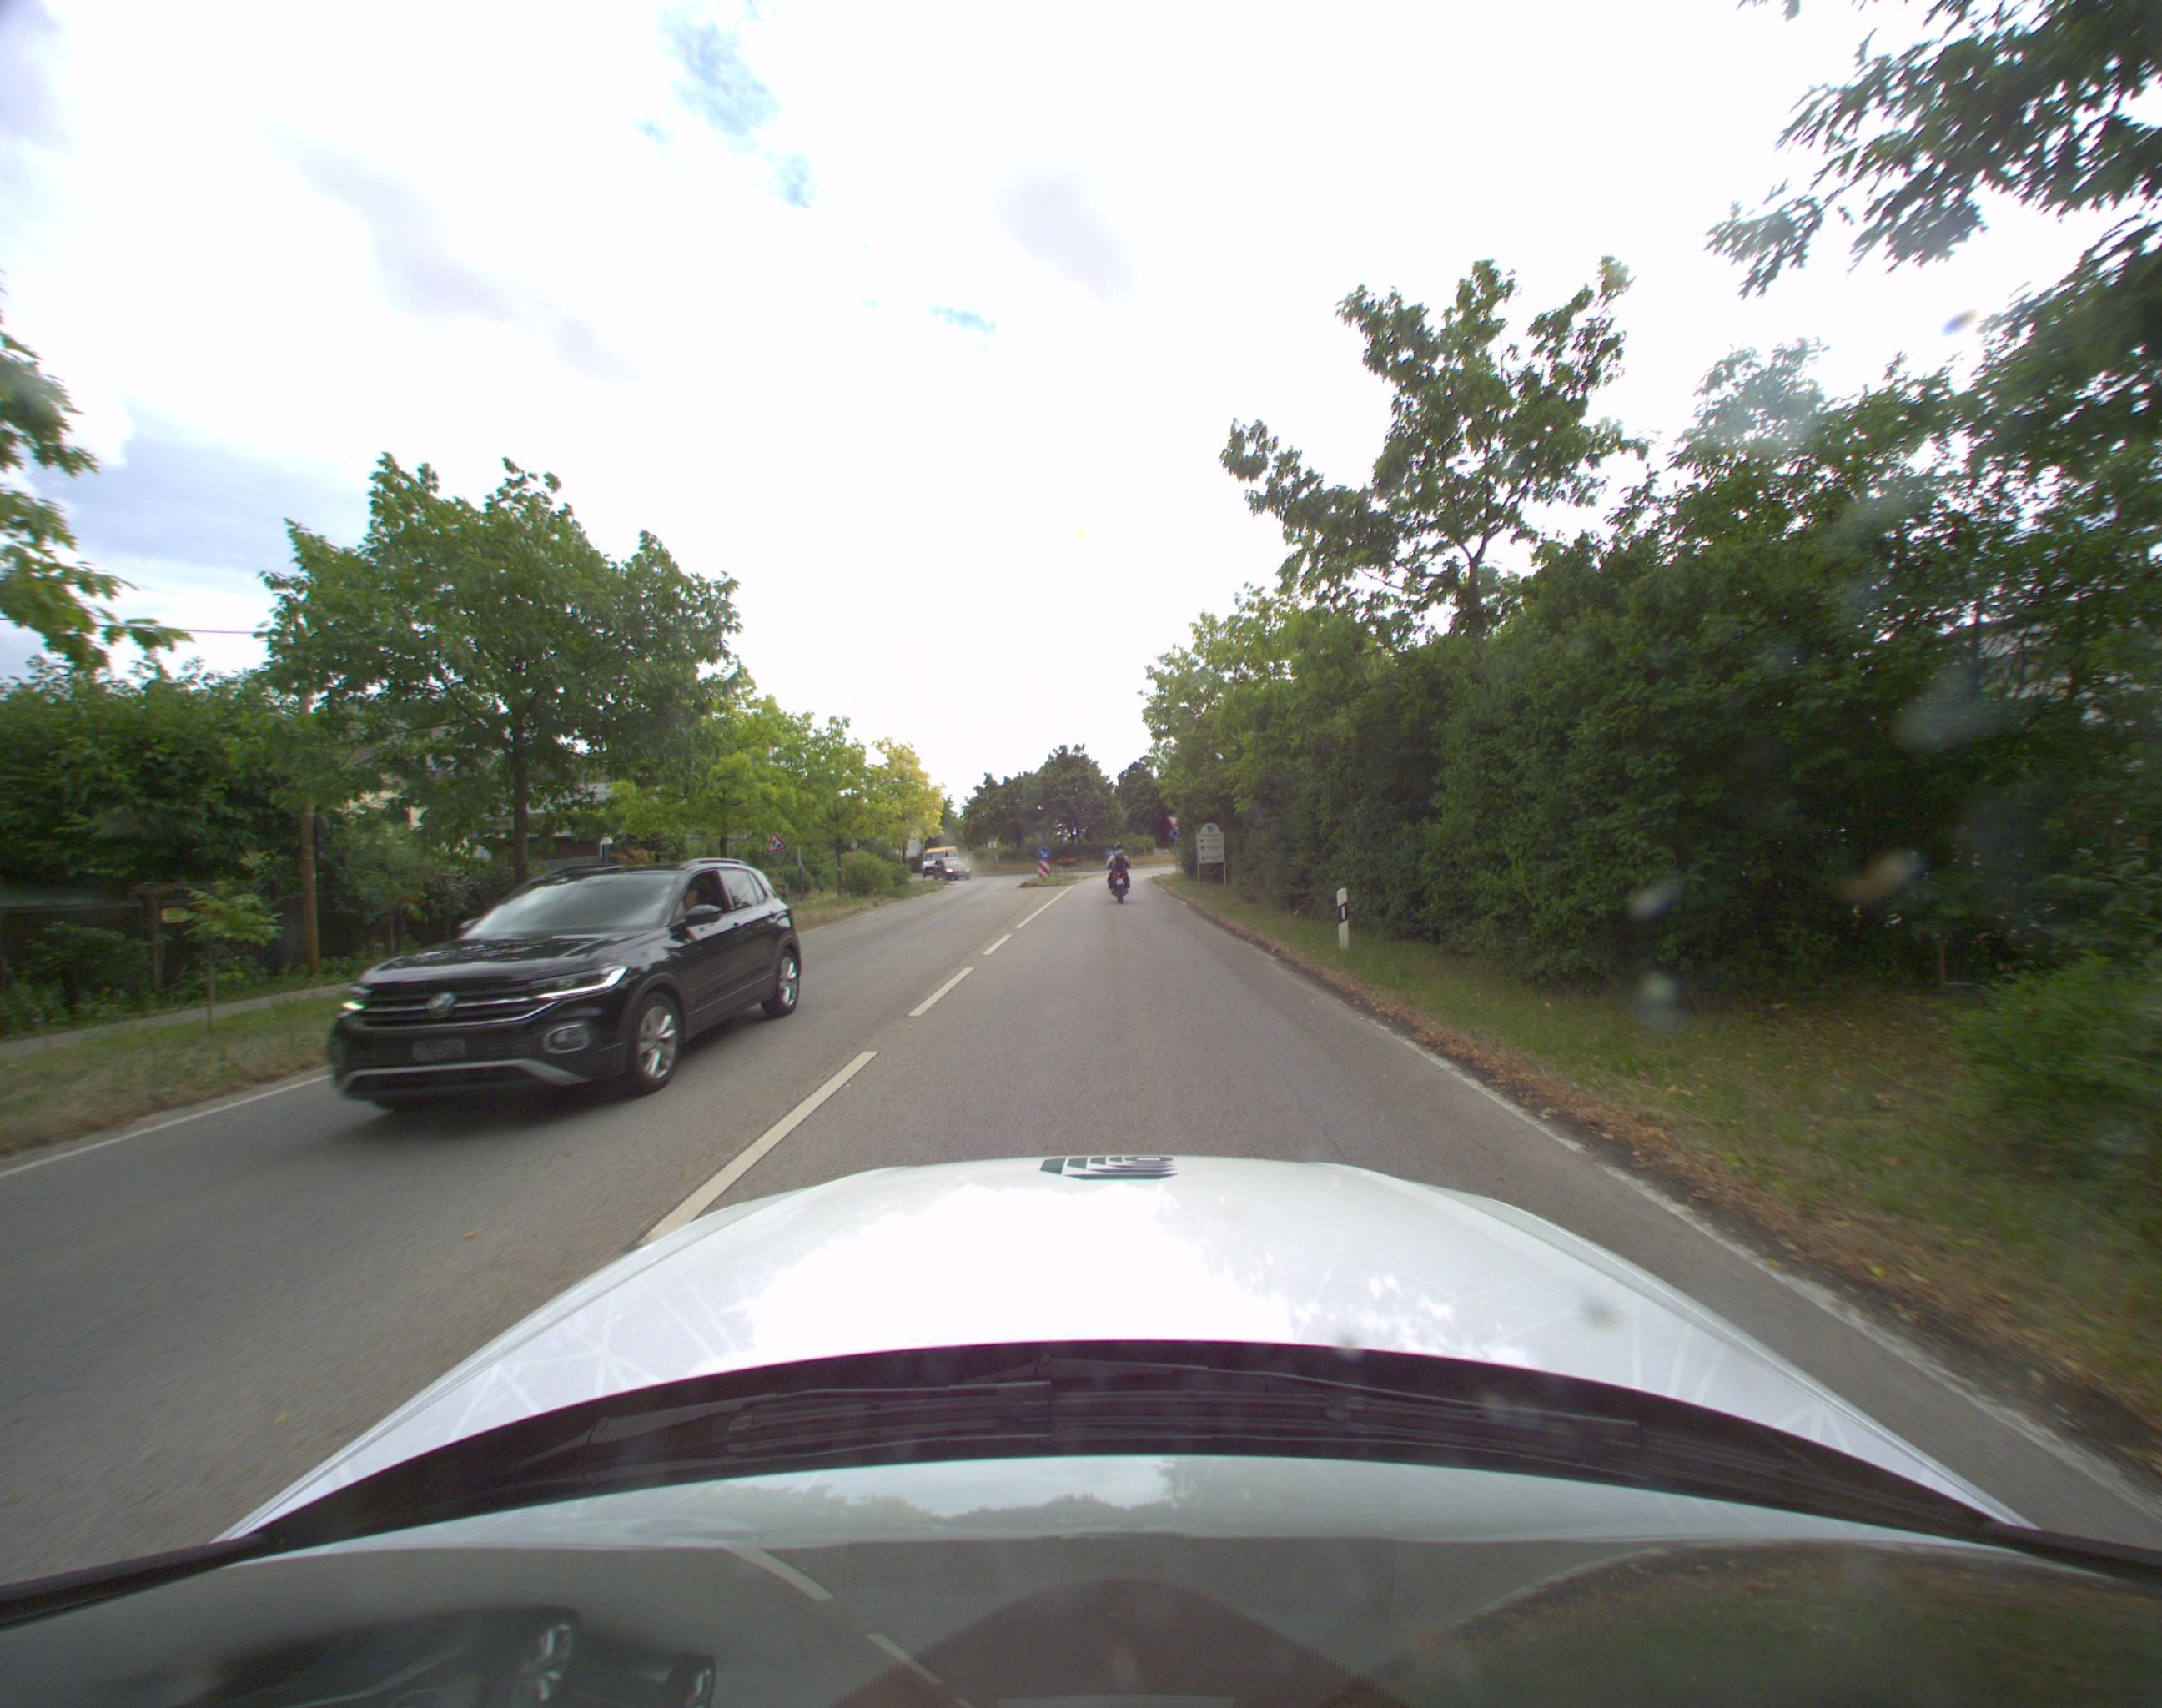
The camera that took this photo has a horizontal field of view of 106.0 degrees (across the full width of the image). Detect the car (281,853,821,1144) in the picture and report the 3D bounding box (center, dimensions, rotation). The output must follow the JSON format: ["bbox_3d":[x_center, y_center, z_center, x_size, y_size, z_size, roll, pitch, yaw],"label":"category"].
[{"bbox_3d":[-3.668,0.820,6.695,1.728,1.534,4.093,-4,0,-1],"label":"car"}]

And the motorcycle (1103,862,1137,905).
[{"bbox_3d":[1.146,0.857,24.572,0.893,1.158,2.620,-2,0,1],"label":"motorcycle"}]

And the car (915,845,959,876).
[{"bbox_3d":[-12.465,0.530,70.954,2.150,2.452,5.454,-3,0,7],"label":"car"}]

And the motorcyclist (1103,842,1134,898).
[{"bbox_3d":[1.120,0.479,24.644,0.858,1.623,1.191,-2,0,0],"label":"motorcyclist"}]

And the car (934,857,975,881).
[{"bbox_3d":[-9.090,1.089,58.127,1.746,1.585,4.321,-4,0,-23],"label":"car"}]
